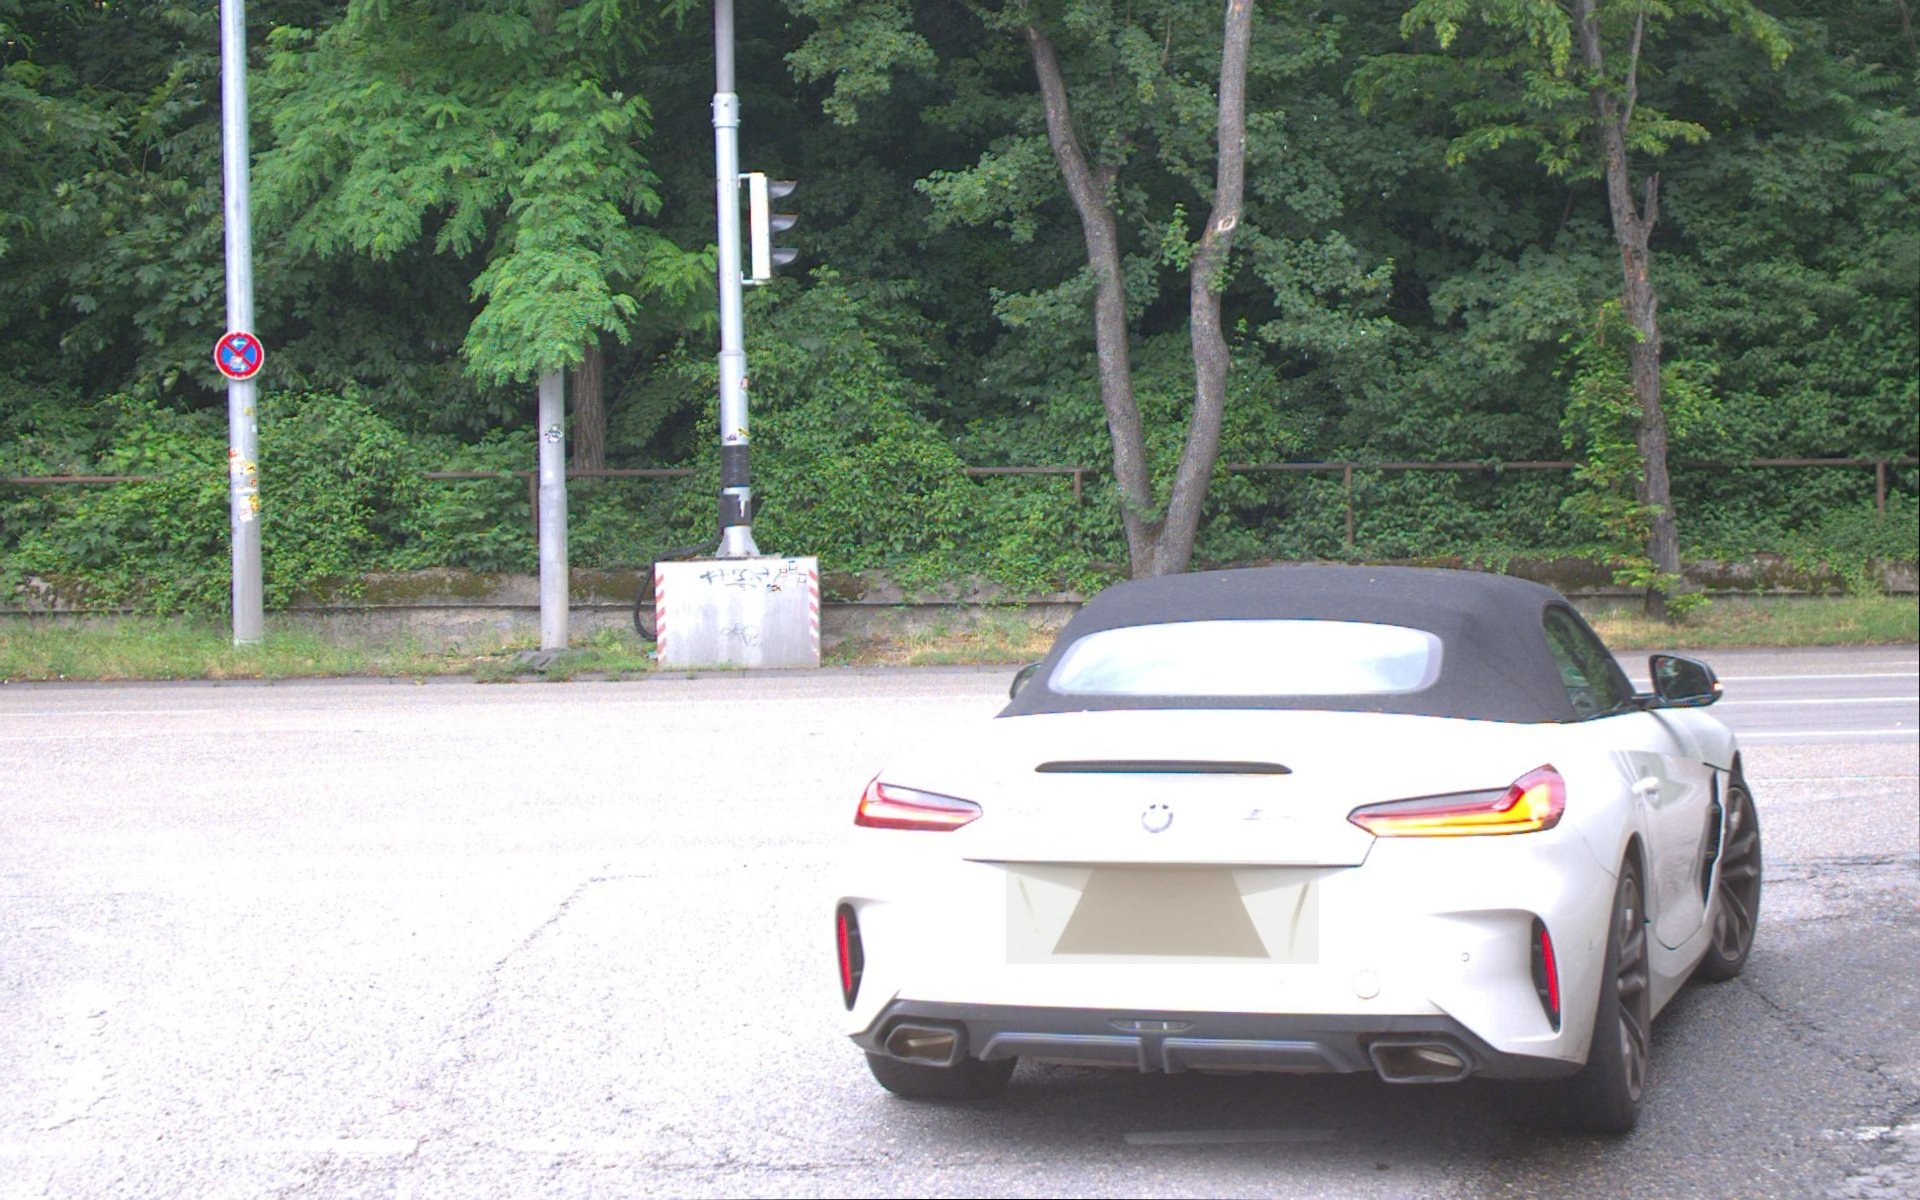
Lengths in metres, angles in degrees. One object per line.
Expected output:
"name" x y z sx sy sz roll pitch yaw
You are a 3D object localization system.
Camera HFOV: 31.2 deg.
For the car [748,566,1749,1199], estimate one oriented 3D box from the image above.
"car" 1.003 0.605 9.196 1.876 1.305 3.870 -1 1 17
